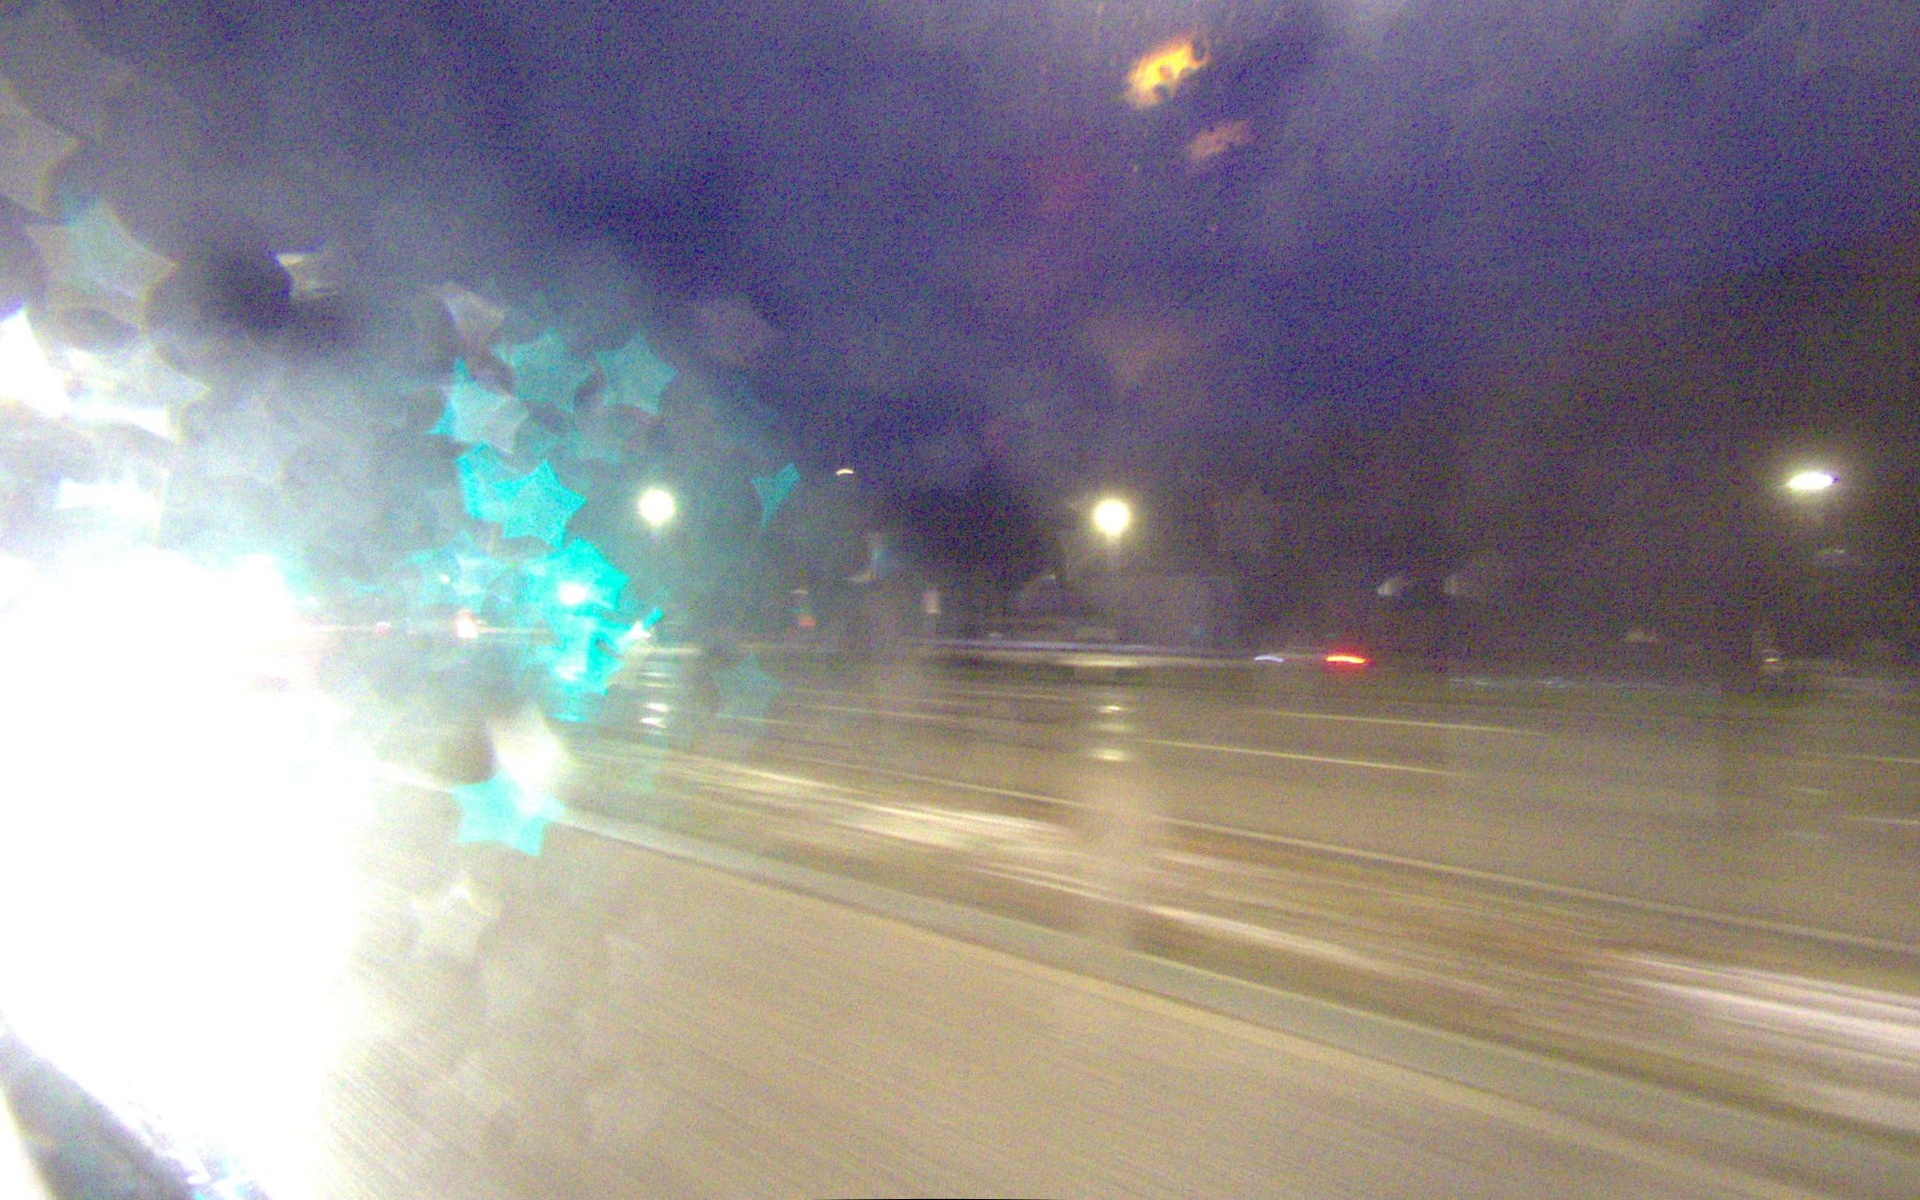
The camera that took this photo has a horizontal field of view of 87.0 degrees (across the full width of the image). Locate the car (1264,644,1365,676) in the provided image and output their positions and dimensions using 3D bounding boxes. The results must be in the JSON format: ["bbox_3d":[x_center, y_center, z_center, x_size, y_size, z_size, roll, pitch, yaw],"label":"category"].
[{"bbox_3d":[18.436,3.092,52.701,4.556,1.408,1.971,1,0,44],"label":"car"}]

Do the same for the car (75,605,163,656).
[{"bbox_3d":[-30.927,1.085,37.182,4.138,1.716,1.701,1,0,39],"label":"car"}]

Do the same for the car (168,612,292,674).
[{"bbox_3d":[-20.914,1.175,28.931,4.595,1.545,1.691,1,0,39],"label":"car"}]

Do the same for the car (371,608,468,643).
[{"bbox_3d":[-32.239,1.515,60.517,4.840,1.954,2.006,1,0,-18],"label":"car"}]

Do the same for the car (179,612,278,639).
[{"bbox_3d":[-42.451,1.498,58.821,4.071,1.460,2.185,1,0,-8],"label":"car"}]

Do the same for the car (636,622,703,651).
[{"bbox_3d":[-18.579,2.336,64.873,4.032,1.796,2.005,1,0,-14],"label":"car"}]

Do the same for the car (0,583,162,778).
[{"bbox_3d":[-10.273,0.727,10.540,4.930,1.717,1.892,-1,-1,37],"label":"car"}]
